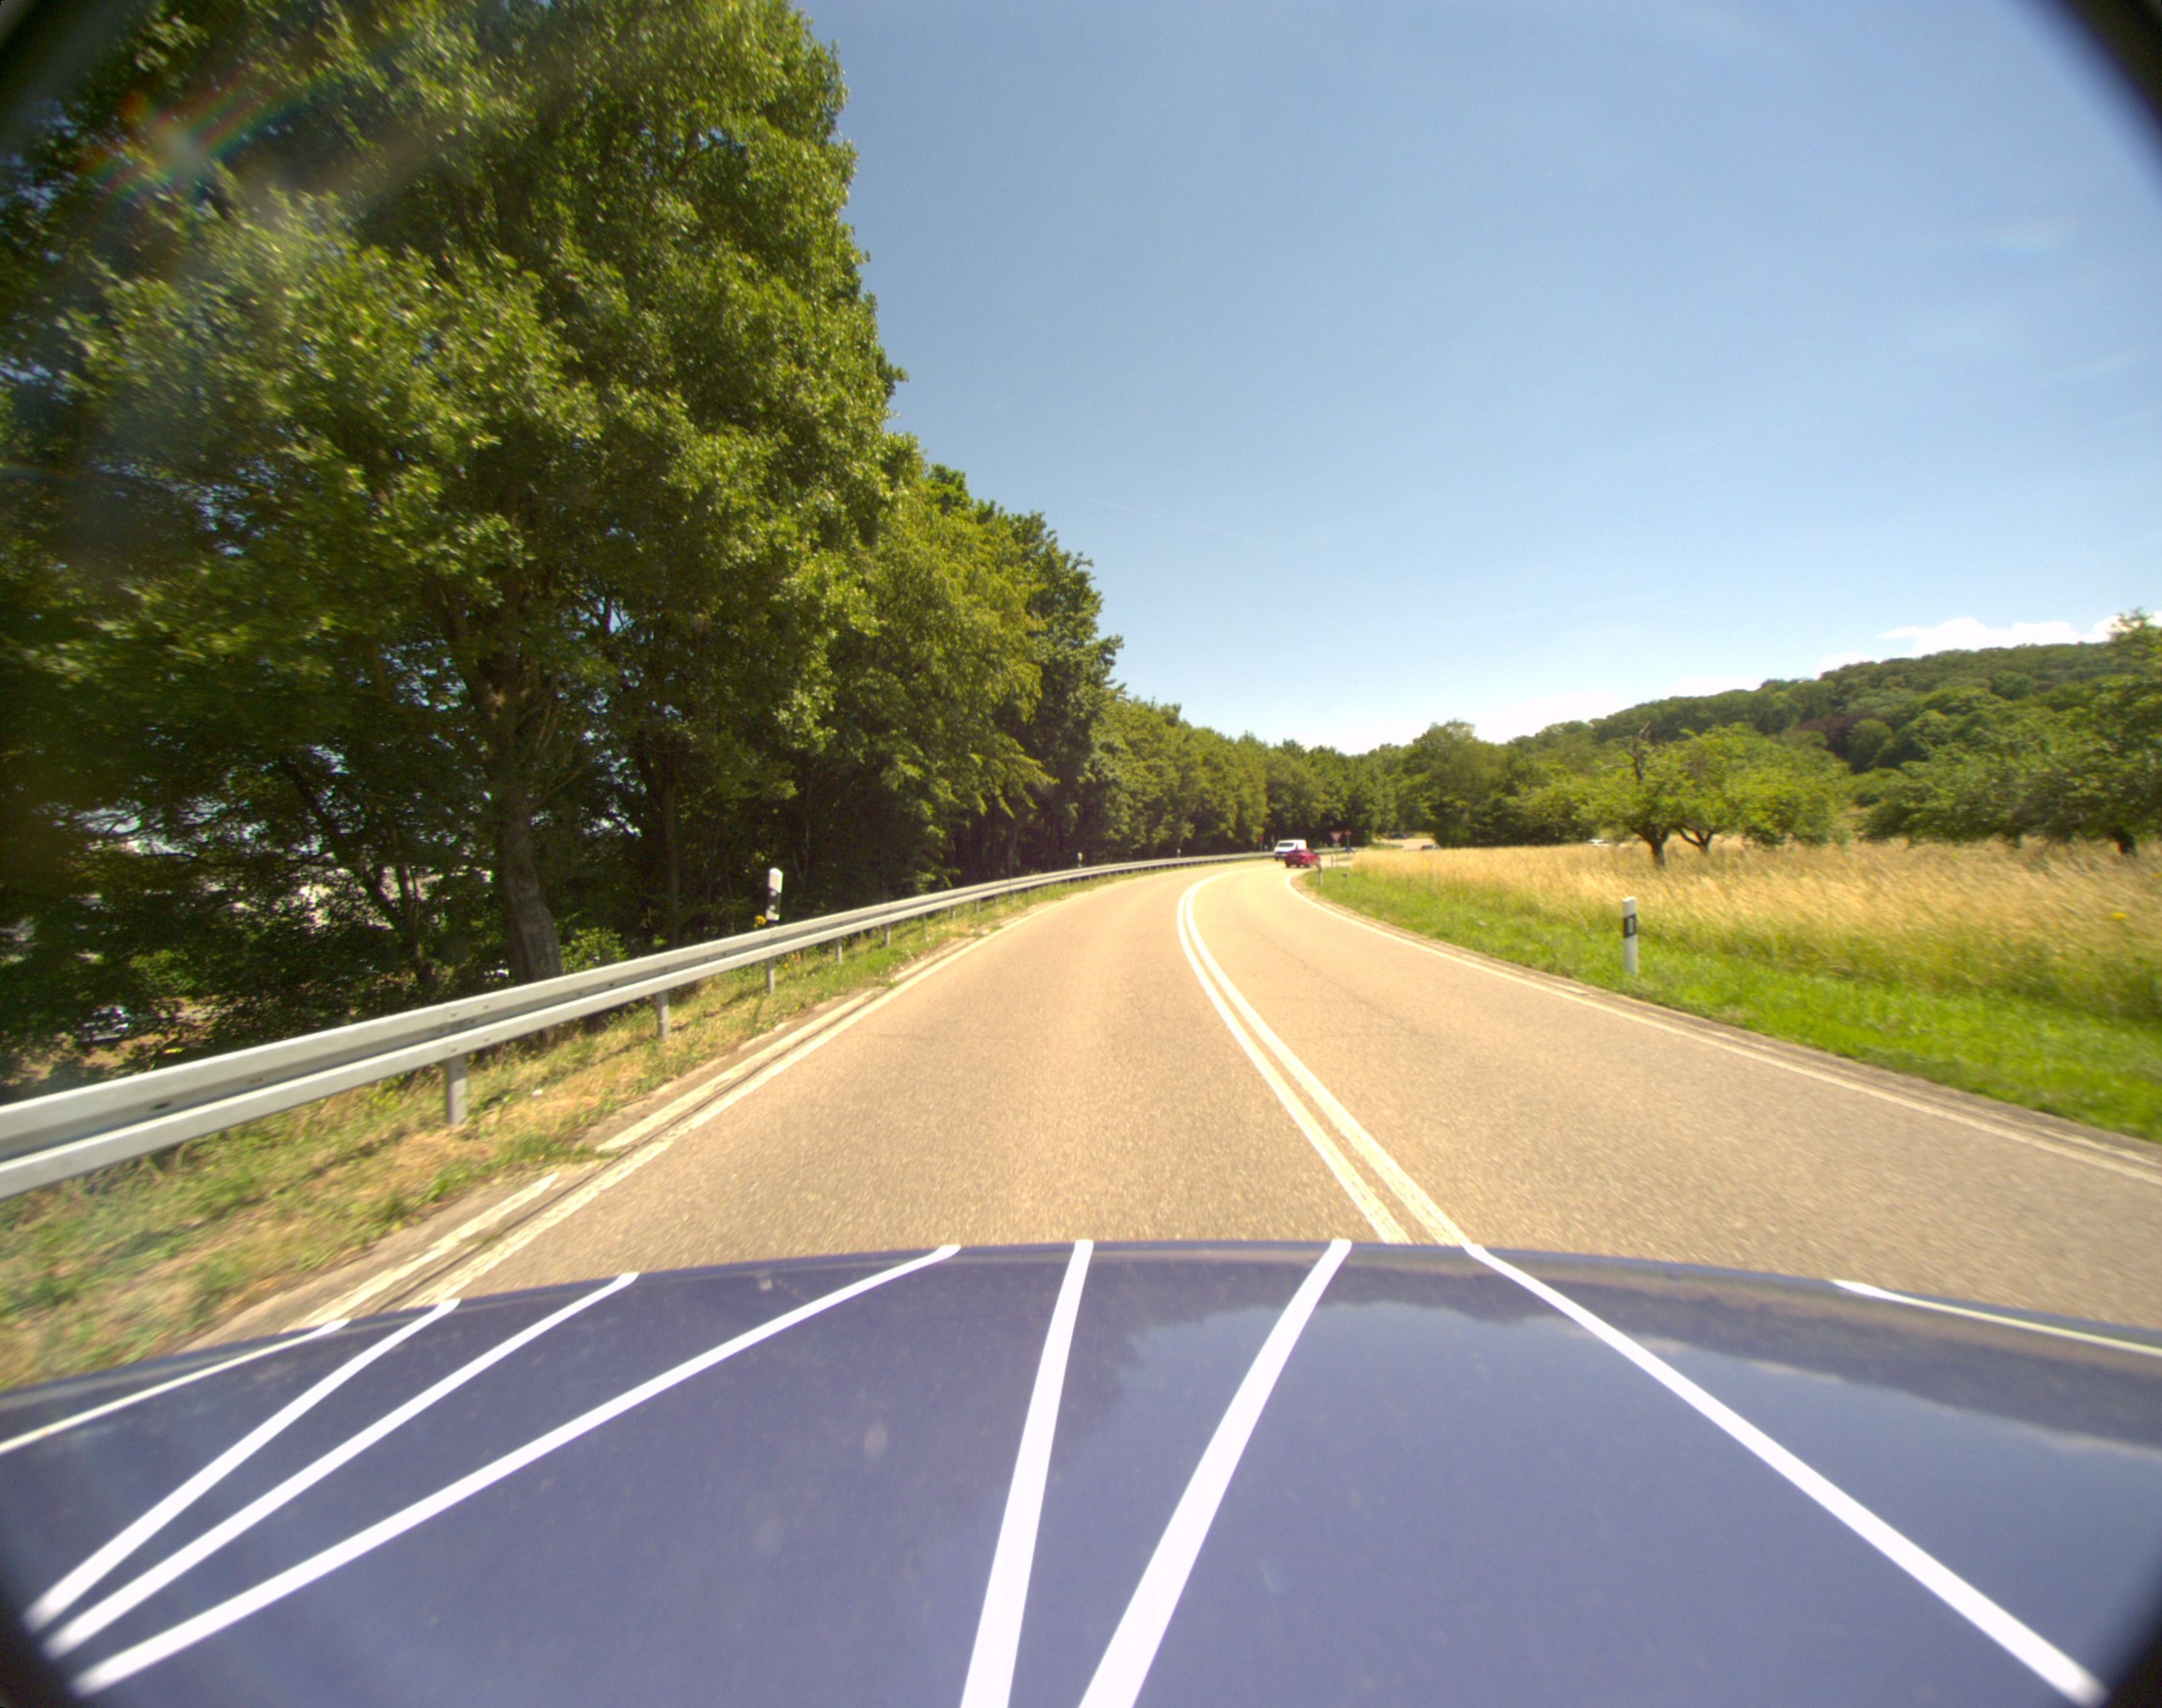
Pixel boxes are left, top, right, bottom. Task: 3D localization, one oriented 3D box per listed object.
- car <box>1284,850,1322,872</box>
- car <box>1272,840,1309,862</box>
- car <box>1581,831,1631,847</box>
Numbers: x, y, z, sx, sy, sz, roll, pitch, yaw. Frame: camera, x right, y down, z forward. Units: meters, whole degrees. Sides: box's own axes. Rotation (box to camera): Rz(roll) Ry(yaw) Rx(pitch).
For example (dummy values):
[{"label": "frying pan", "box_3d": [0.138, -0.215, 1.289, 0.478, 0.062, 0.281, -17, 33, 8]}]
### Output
[{"label": "car", "box_3d": [16.633, 0.486, 56.810, 1.823, 1.450, 4.407, 3, 3, 28]}, {"label": "car", "box_3d": [20.788, -0.305, 75.190, 2.220, 2.021, 5.436, -2, 0, 29]}, {"label": "car", "box_3d": [56.414, -1.654, 81.665, 4.218, 1.582, 1.826, 1, 3, -9]}]
